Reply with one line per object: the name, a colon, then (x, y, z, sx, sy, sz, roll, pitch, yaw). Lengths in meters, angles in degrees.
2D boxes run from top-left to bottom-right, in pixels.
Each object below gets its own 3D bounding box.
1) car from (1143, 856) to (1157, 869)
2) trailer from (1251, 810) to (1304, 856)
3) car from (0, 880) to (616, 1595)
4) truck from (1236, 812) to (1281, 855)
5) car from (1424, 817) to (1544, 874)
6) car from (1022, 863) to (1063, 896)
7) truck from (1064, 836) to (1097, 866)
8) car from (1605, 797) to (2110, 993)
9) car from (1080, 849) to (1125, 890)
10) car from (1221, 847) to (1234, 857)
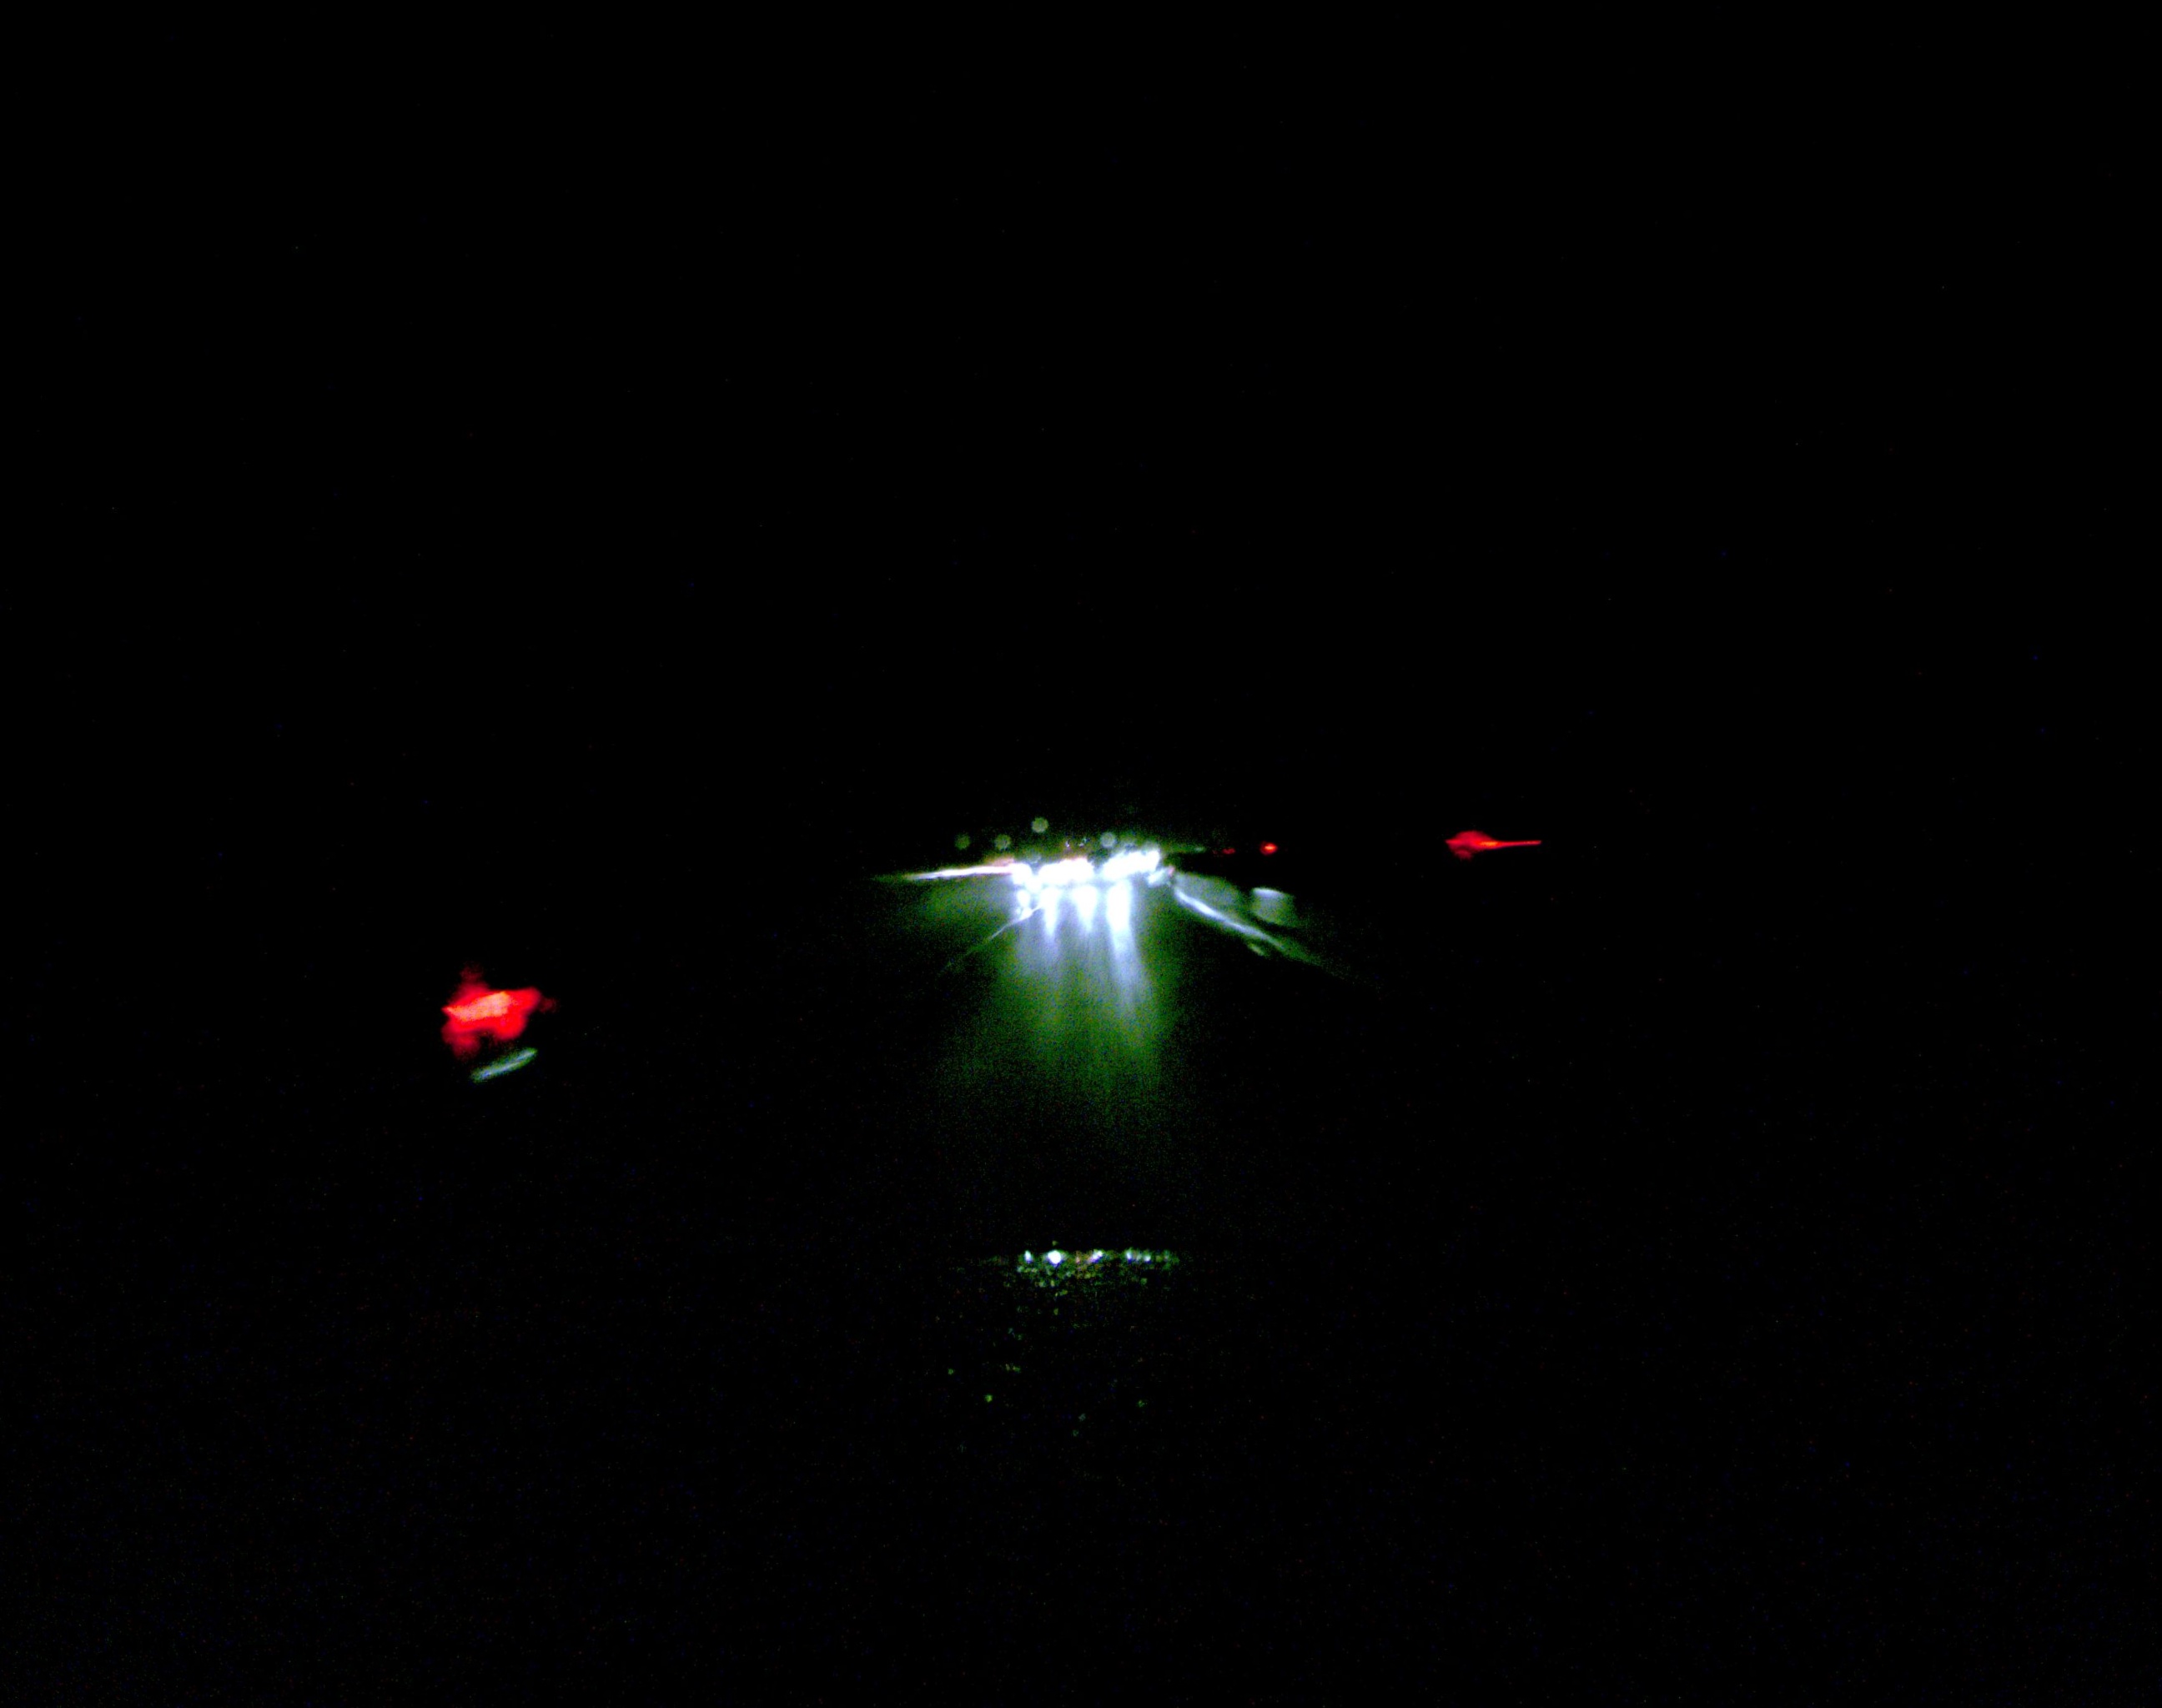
car: (11.362, 1.407, 124.837, 1.998, 1.802, 4.002, -7, -1, 4)
trailer: (19.316, -1.937, 75.289, 2.935, 3.726, 9.504, -7, -1, 3)
car: (-3.462, 0.973, 1.957, 1.805, 1.608, 4.257, -3, 0, 1)
truck: (19.798, -2.163, 85.309, 2.954, 4.012, 10.658, -7, -1, 5)
car: (14.091, -0.218, 26.883, 1.998, 1.653, 4.001, -7, -1, 1)
car: (-2.109, 1.416, 42.461, 1.847, 1.614, 3.680, -6, -2, 2)
truck: (-0.027, -0.440, 107.391, 2.780, 3.945, 5.204, -7, -1, 16)
car: (10.559, 0.518, 11.185, 1.998, 2.001, 5.190, -7, -1, 2)
car: (1.249, 0.861, 42.207, 1.998, 2.001, 4.003, -5, -1, 6)
car: (29.375, -0.395, 152.004, 1.998, 1.674, 4.002, -7, -1, 5)
